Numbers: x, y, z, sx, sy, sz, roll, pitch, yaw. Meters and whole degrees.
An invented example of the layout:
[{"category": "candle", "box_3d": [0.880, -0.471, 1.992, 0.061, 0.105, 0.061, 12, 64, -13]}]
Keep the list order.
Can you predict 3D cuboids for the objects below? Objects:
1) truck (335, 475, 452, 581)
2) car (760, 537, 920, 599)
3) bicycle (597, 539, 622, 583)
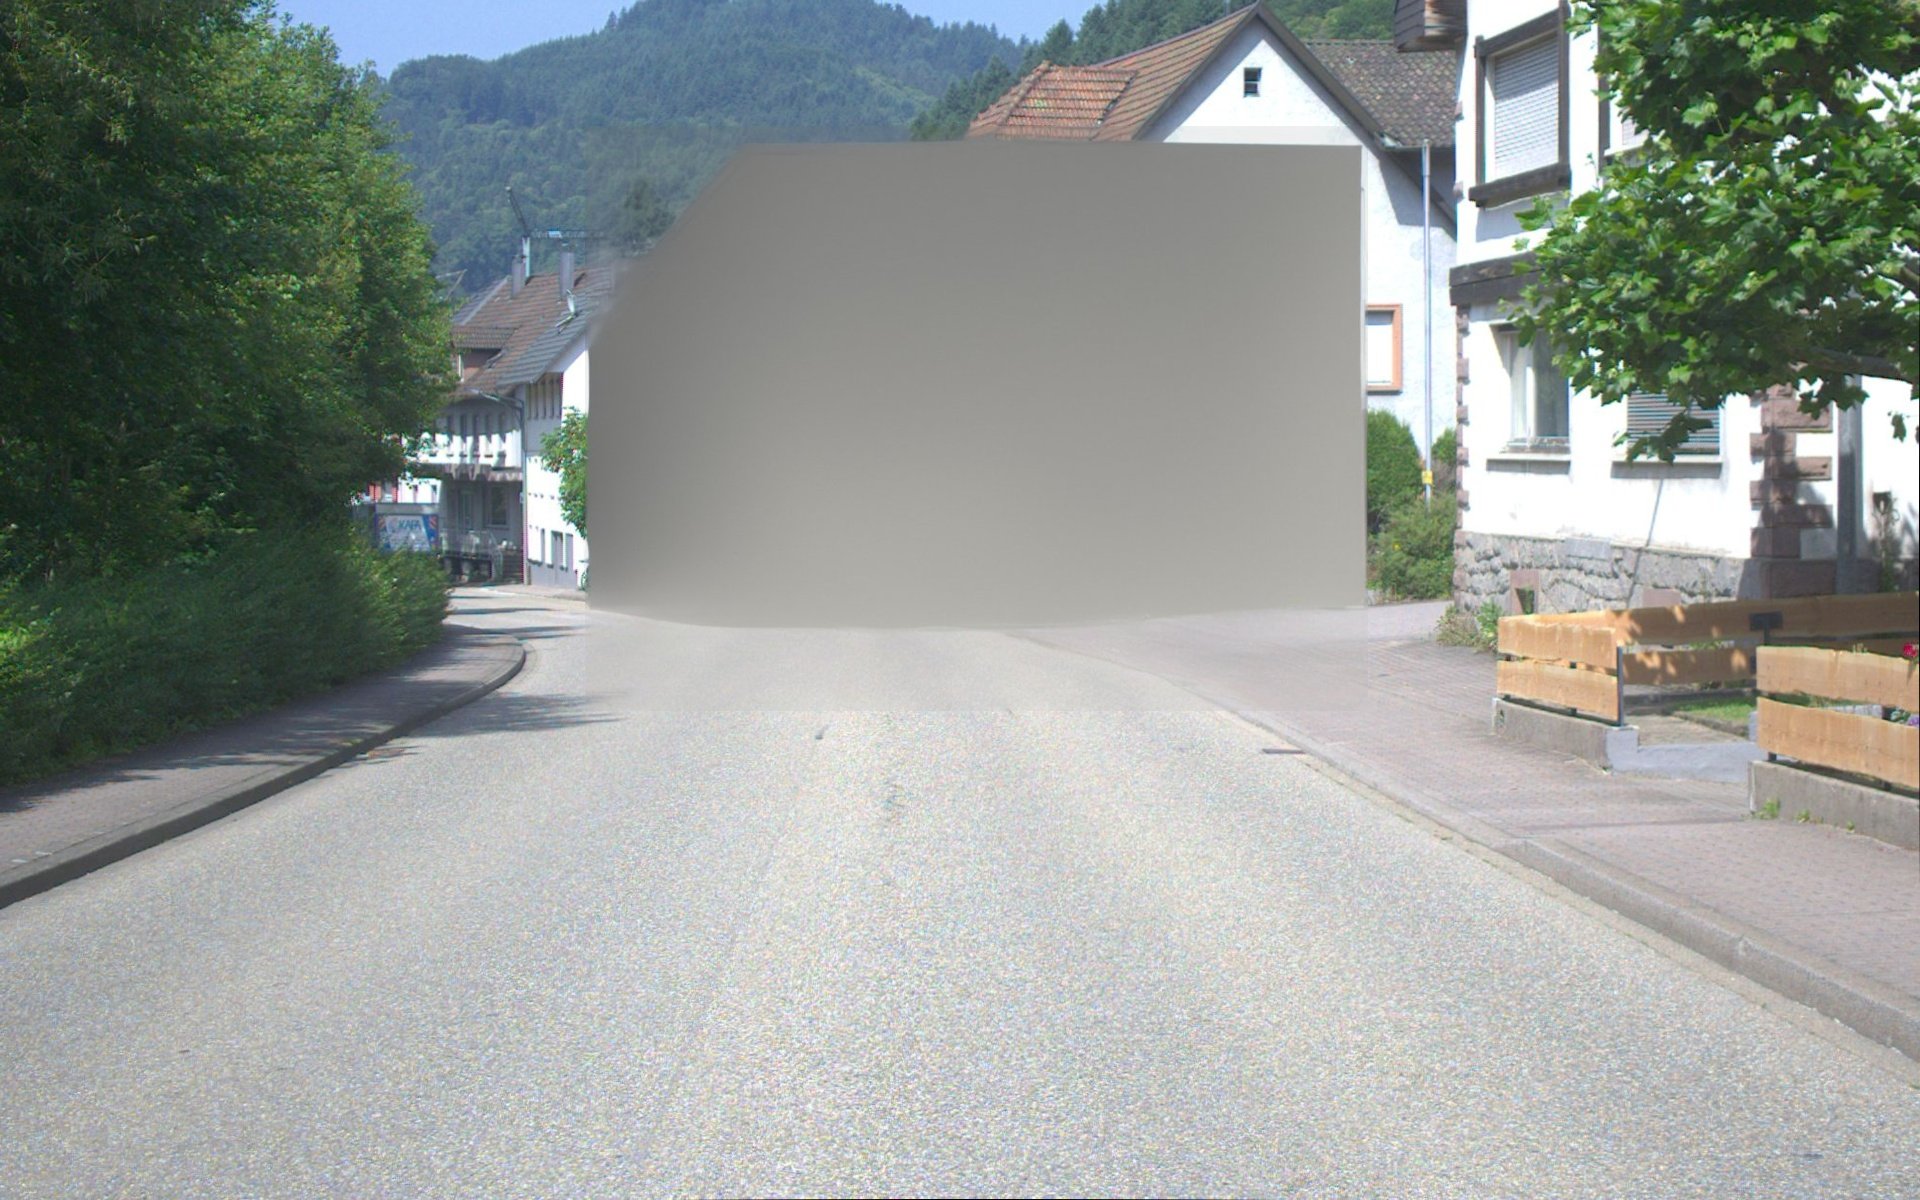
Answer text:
[{"category": "truck", "box_3d": [-23.292, -2.902, 141.086, 3.362, 3.769, 8.442, -5, 0, -17]}, {"category": "car", "box_3d": [-3.063, -0.811, 87.400, 3.770, 1.422, 1.607, -2, 1, 32]}, {"category": "bicycle", "box_3d": [-11.388, -1.267, 111.597, 0.425, 1.391, 2.277, -5, 2, -13]}]
